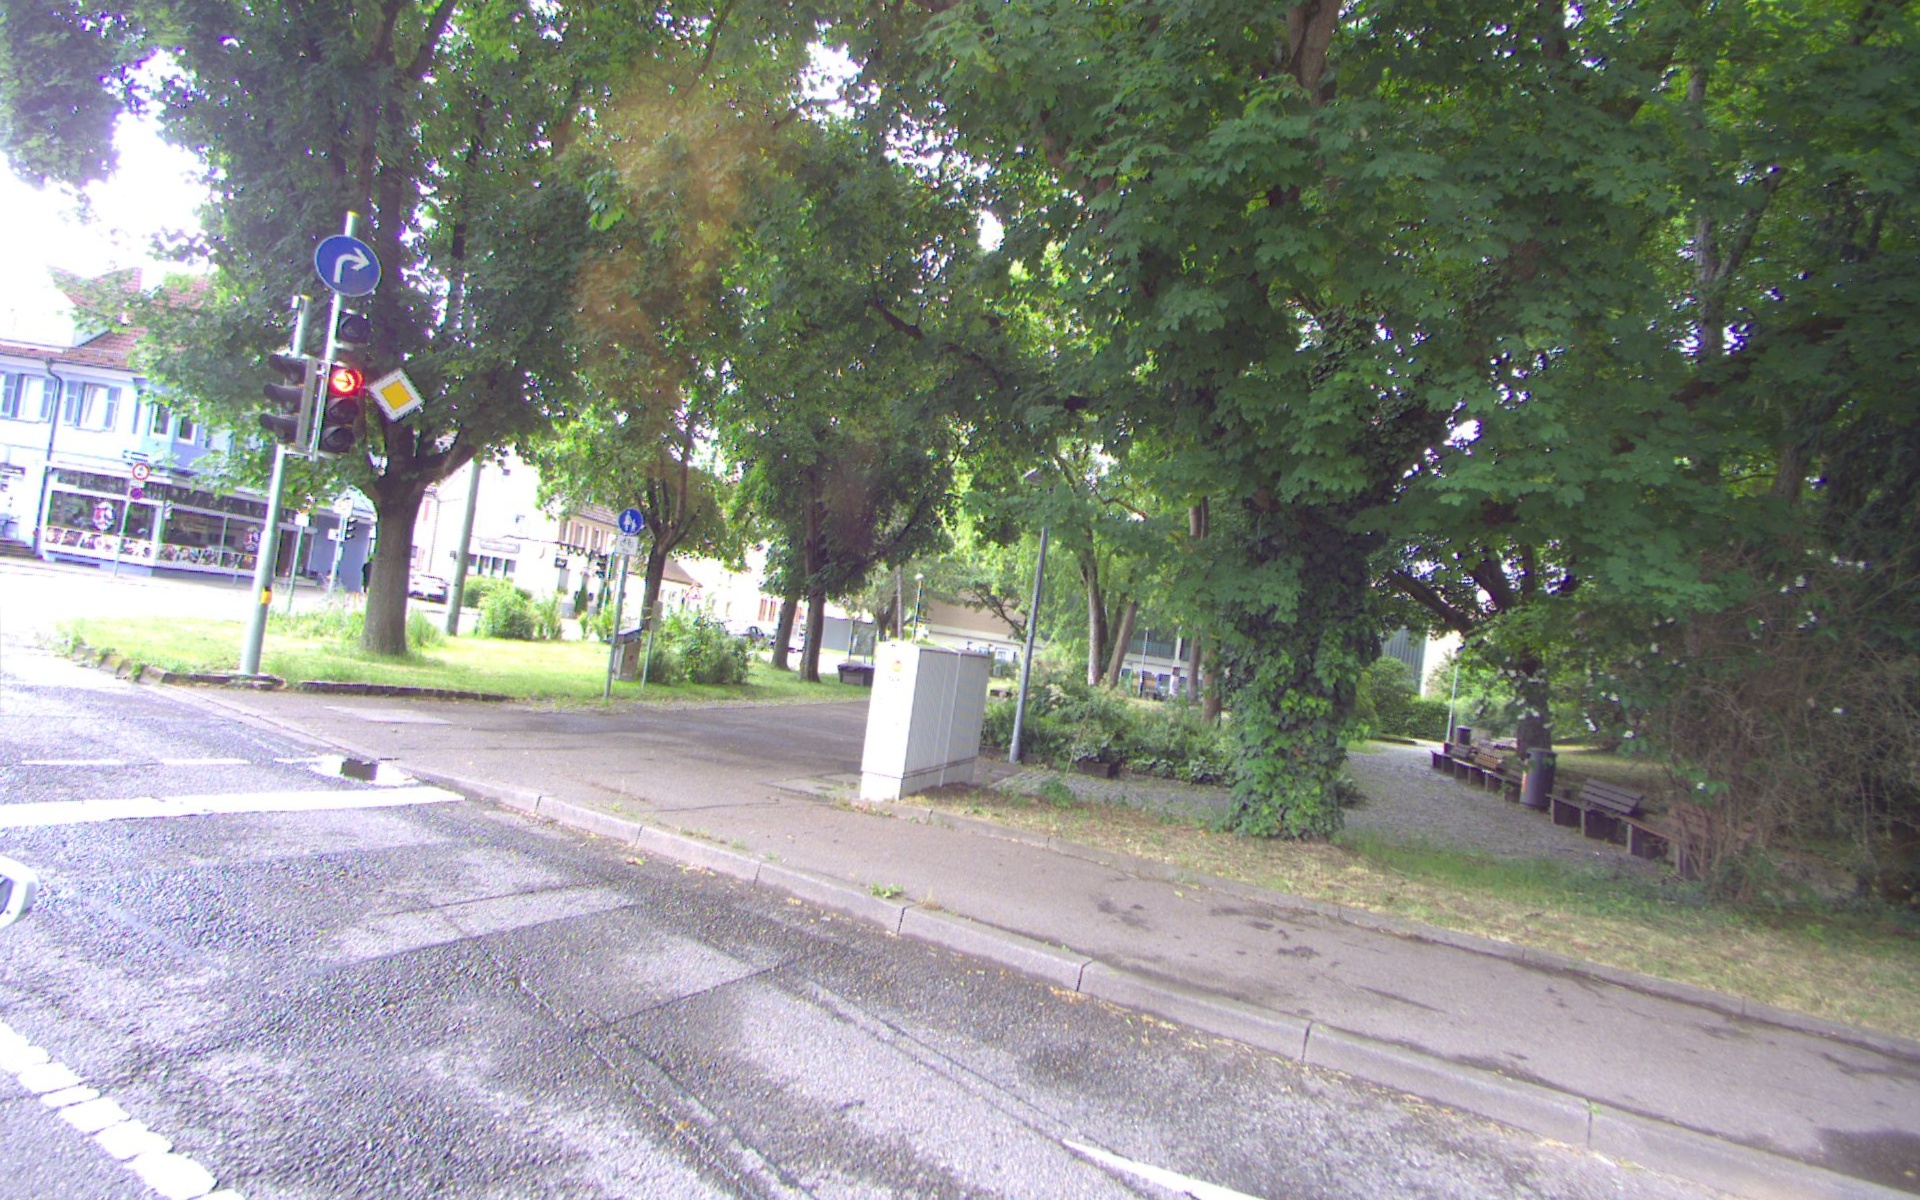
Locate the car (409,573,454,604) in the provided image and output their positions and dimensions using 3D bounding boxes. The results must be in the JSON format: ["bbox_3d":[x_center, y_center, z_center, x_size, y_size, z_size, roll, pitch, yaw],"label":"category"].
[{"bbox_3d":[-27.874,-0.602,53.145,1.479,1.384,3.166,8,-2,-19],"label":"car"}]

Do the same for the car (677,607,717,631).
[{"bbox_3d":[-19.374,1.444,74.250,1.528,1.436,4.005,7,-2,4],"label":"car"}]

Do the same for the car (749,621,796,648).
[{"bbox_3d":[-11.170,2.071,60.107,1.530,1.336,3.514,7,-2,8],"label":"car"}]

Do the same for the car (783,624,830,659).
[{"bbox_3d":[-10.059,2.759,66.175,1.750,2.037,4.005,7,-2,7],"label":"car"}]

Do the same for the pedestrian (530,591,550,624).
[{"bbox_3d":[-22.163,0.405,53.083,0.601,1.668,0.609,7,-1,-6],"label":"pedestrian"}]

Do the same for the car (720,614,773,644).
[{"bbox_3d":[-11.572,1.598,54.822,1.530,1.336,3.514,7,-2,9],"label":"car"}]

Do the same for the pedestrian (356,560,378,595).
[{"bbox_3d":[-27.503,-1.032,46.678,0.576,1.535,0.460,7,-1,11],"label":"pedestrian"}]

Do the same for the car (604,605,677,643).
[{"bbox_3d":[-14.013,1.091,44.358,1.530,1.336,3.514,7,-2,9],"label":"car"}]
